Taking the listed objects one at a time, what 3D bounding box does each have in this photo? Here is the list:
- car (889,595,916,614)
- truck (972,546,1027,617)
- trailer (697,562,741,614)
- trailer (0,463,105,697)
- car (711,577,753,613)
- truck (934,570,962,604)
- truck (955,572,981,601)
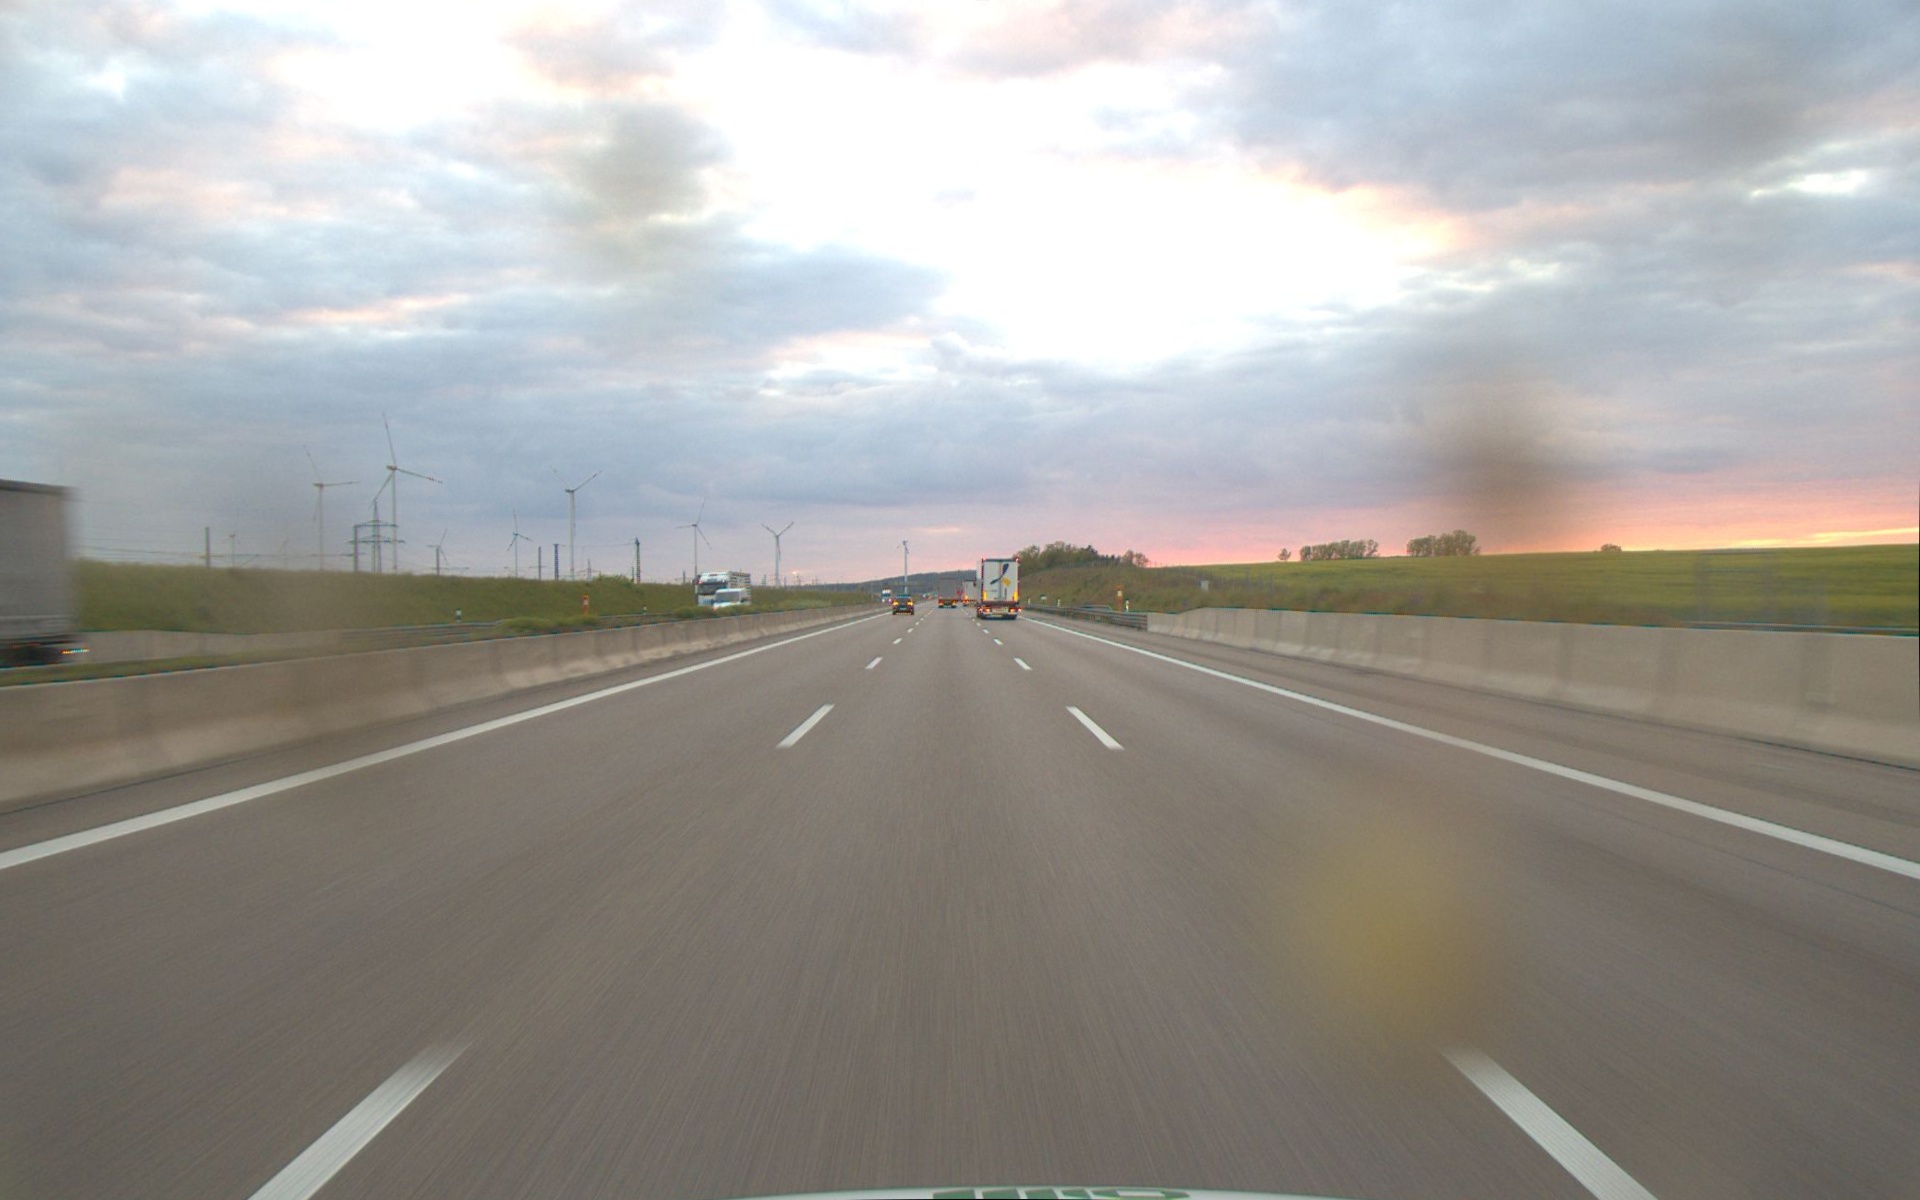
[{"bbox_3d":[-4.691,0.347,135.021,1.947,1.454,4.001,-1,1,1],"label":"car"},{"bbox_3d":[2.673,-1.278,115.184,3.600,4.644,10.981,-1,0,0],"label":"truck"},{"bbox_3d":[-20.417,-1.023,140.523,2.632,4.186,6.937,-2,0,-1],"label":"trailer"},{"bbox_3d":[-19.476,-0.386,28.728,2.760,4.428,12.835,1,0,-1],"label":"trailer"},{"bbox_3d":[-16.146,-0.353,117.470,2.084,2.385,6.491,-1,0,-1],"label":"car"},{"bbox_3d":[-1.648,-1.689,225.982,3.573,4.491,8.634,-1,0,-1],"label":"truck"},{"bbox_3d":[1.299,-2.130,262.668,3.884,4.491,8.636,-1,0,0],"label":"truck"}]
